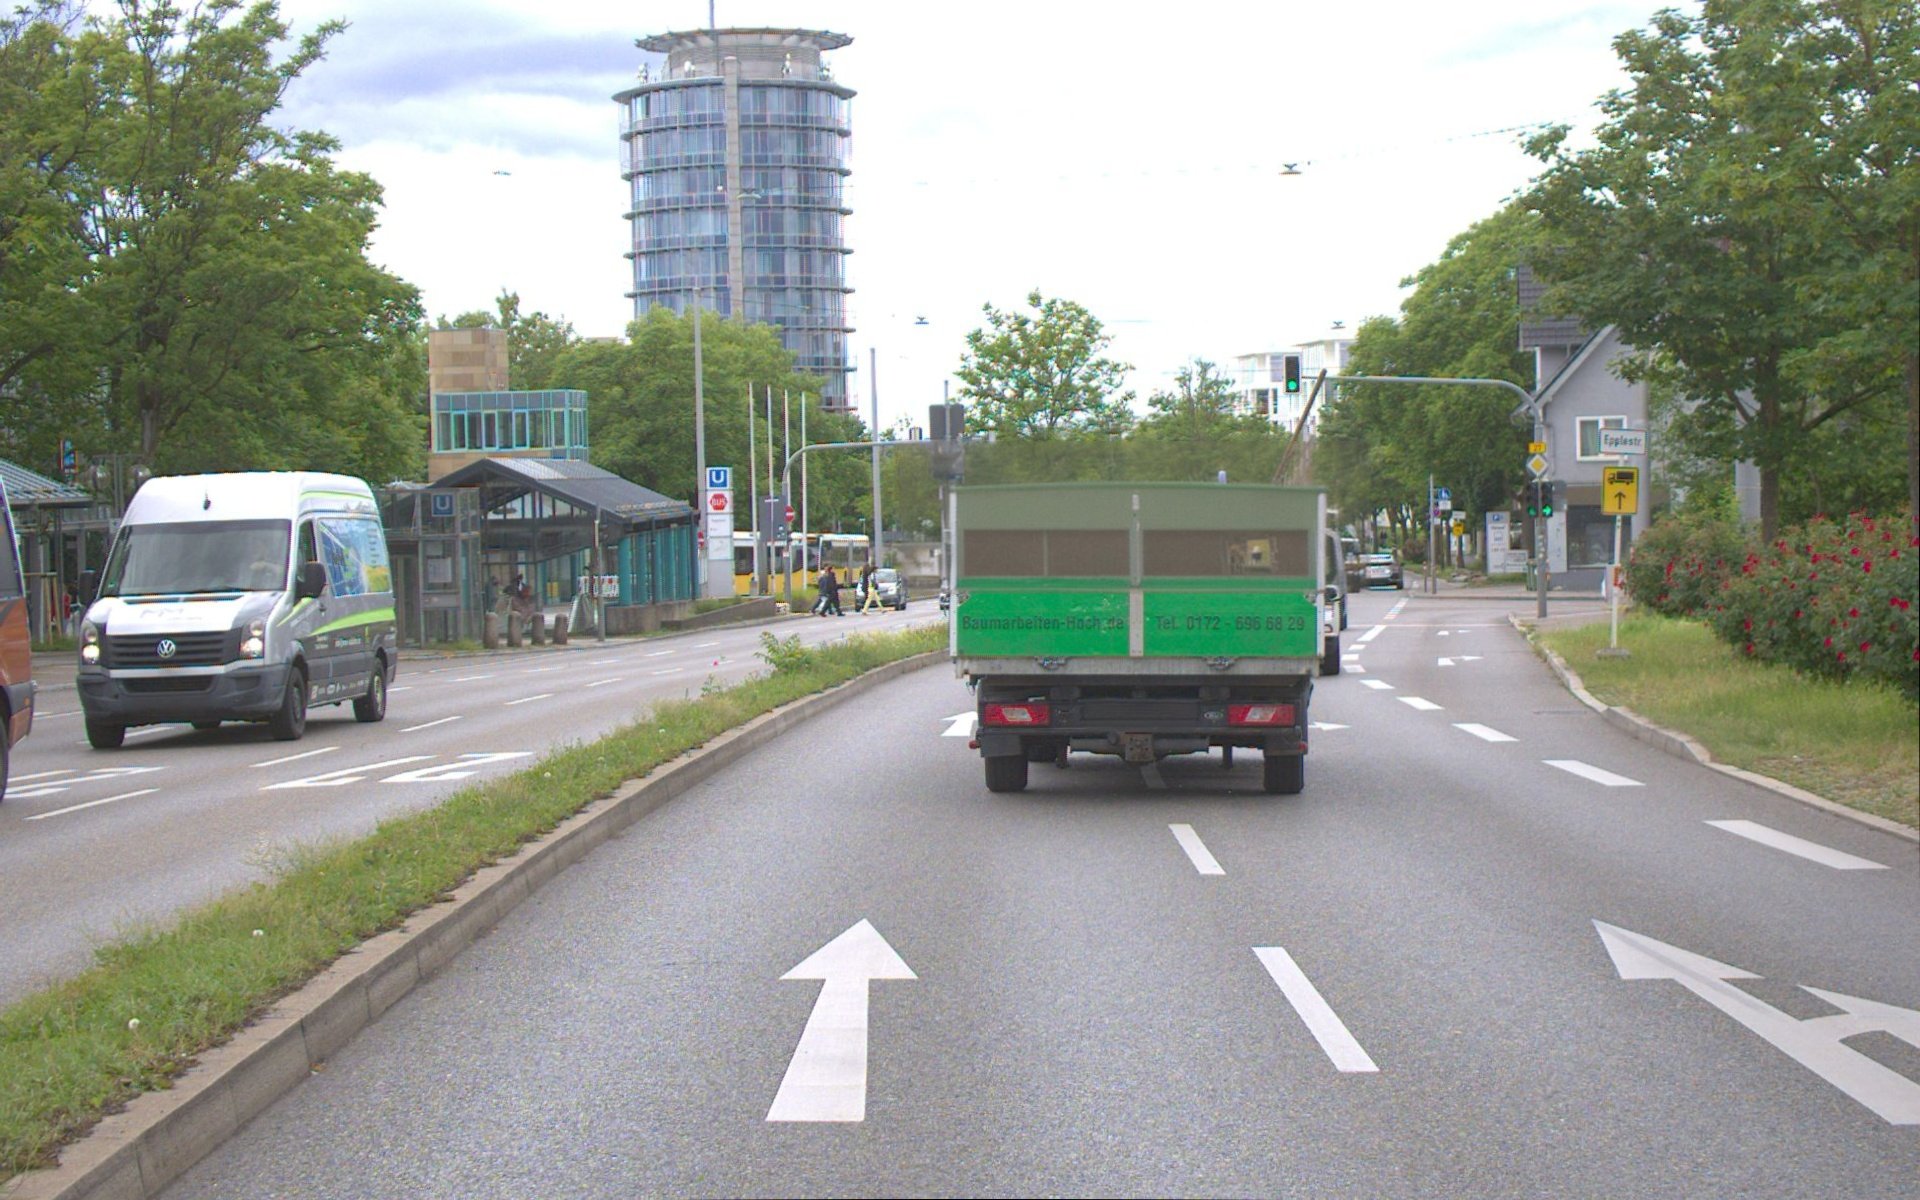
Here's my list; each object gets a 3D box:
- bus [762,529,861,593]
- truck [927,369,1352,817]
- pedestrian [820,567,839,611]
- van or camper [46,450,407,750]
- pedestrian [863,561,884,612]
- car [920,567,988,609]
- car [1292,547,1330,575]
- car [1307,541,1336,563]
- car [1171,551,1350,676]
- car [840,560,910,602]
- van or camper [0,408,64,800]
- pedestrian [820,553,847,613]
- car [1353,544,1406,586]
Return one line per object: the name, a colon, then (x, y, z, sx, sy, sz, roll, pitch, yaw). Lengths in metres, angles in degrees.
bus: (-8.245, -2.171, 192.289, 2.833, 3.419, 10.727, -2, 0, 12)
truck: (1.334, -0.136, 23.310, 2.471, 2.602, 6.547, 0, 2, 5)
pedestrian: (-4.461, -0.375, 117.704, 0.543, 1.491, 0.486, -1, 0, 7)
van or camper: (-7.066, -0.056, 33.865, 2.032, 2.589, 6.116, -3, 1, 1)
pedestrian: (-2.912, -0.451, 116.035, 0.653, 1.710, 0.452, -1, 0, 2)
car: (-0.217, -0.463, 126.820, 1.994, 1.481, 3.999, -2, 0, 7)
car: (19.718, -2.186, 193.293, 1.994, 1.547, 3.999, -2, 0, 5)
car: (26.424, -3.471, 251.276, 1.994, 1.547, 3.999, -2, 0, 5)
car: (4.026, 0.141, 46.695, 1.867, 1.500, 4.774, -1, 2, -1)
car: (-3.143, -0.709, 127.631, 1.994, 1.481, 3.999, -2, 0, 7)
van or camper: (-7.379, 0.102, 20.993, 1.993, 2.589, 6.116, -3, 1, 1)
pedestrian: (-4.290, -0.584, 116.733, 0.830, 2.007, 0.546, -1, 0, 2)
car: (16.500, -1.378, 135.155, 1.994, 1.547, 3.999, -2, 0, 7)
